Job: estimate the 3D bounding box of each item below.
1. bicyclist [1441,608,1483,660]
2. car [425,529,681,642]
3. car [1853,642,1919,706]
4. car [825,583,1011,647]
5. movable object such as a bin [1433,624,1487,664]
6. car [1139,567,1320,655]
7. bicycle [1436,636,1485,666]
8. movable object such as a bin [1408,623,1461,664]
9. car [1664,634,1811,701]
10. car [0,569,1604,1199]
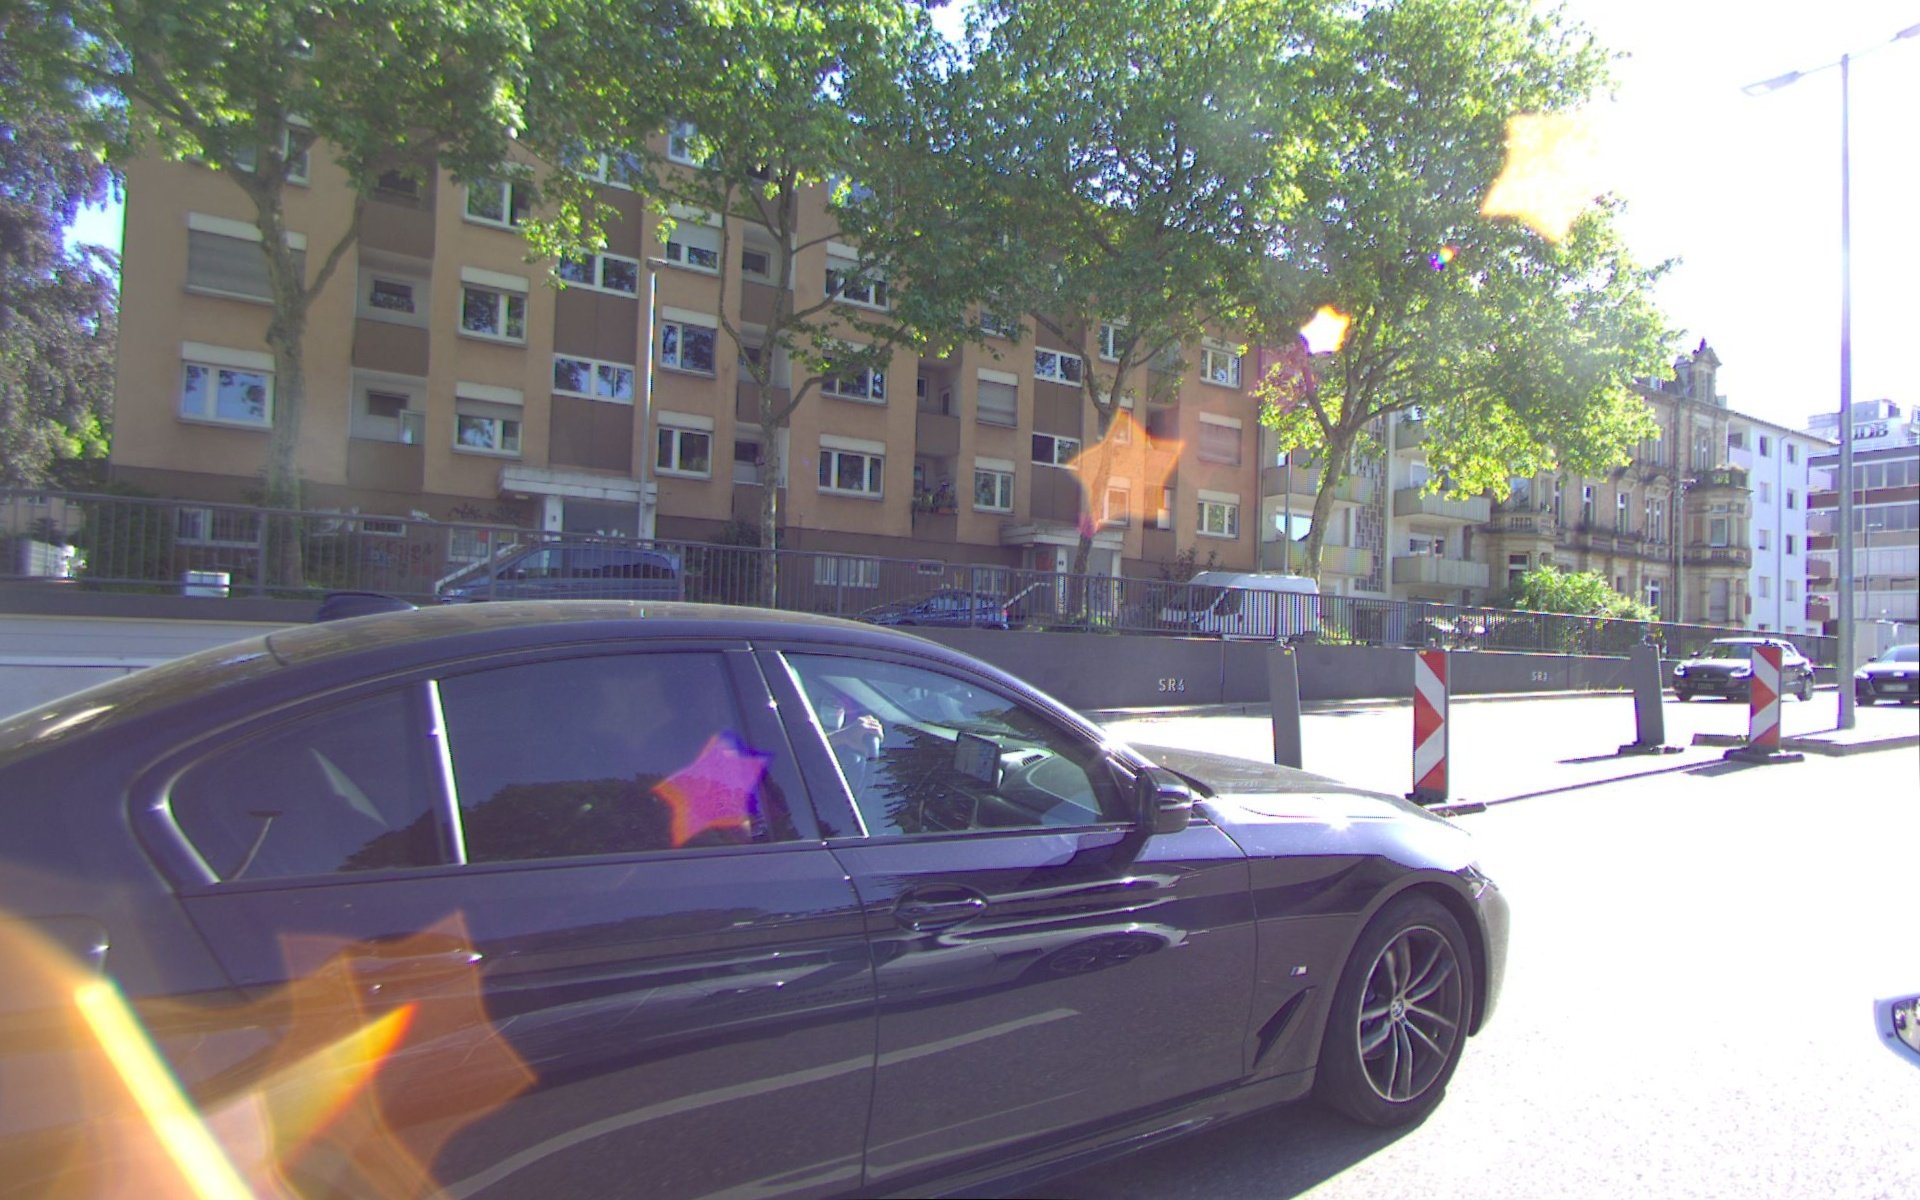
[{"bbox_3d":[16.379,1.116,32.785,1.012,1.655,0.770,2,0,-34],"label":"bicyclist"},{"bbox_3d":[-8.177,-0.228,20.287,4.479,1.986,1.954,2,0,-33],"label":"car"},{"bbox_3d":[21.337,1.587,22.027,3.884,1.317,1.531,2,-4,-32],"label":"car"},{"bbox_3d":[-1.014,0.372,24.774,4.125,1.407,1.983,2,0,-31],"label":"car"},{"bbox_3d":[18.921,1.664,38.028,1.309,1.421,1.273,2,0,-30],"label":"movable object such as a bin"},{"bbox_3d":[8.133,0.366,30.159,5.355,2.391,1.984,2,0,-30],"label":"car"},{"bbox_3d":[16.338,1.659,32.782,1.740,0.939,0.652,2,0,-34],"label":"bicycle"},{"bbox_3d":[17.693,1.611,37.451,1.286,1.421,1.273,2,0,-30],"label":"movable object such as a bin"},{"bbox_3d":[18.503,1.588,23.866,3.676,1.484,1.531,2,-4,-32],"label":"car"},{"bbox_3d":[-0.466,0.748,2.774,4.947,1.458,1.799,3,-1,-32],"label":"car"}]
